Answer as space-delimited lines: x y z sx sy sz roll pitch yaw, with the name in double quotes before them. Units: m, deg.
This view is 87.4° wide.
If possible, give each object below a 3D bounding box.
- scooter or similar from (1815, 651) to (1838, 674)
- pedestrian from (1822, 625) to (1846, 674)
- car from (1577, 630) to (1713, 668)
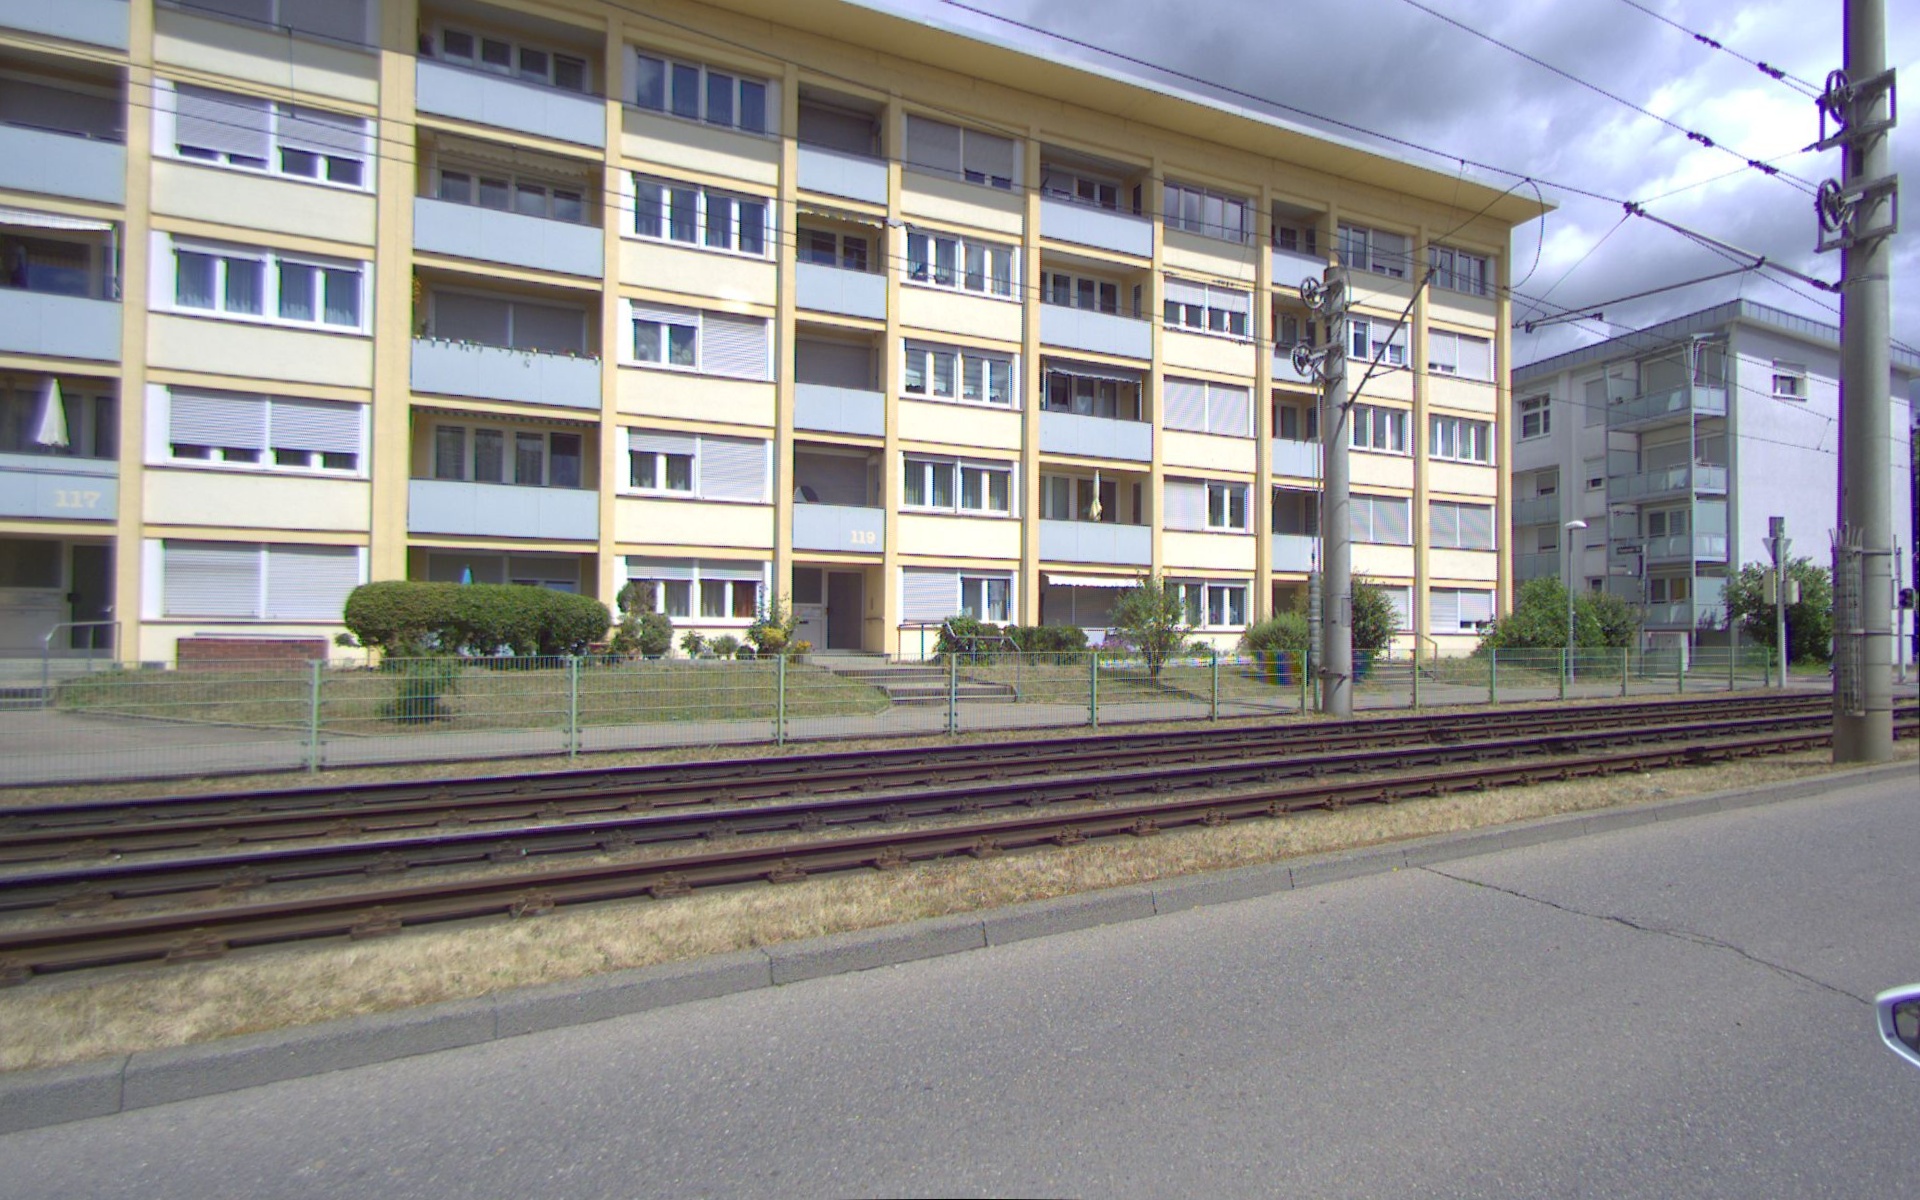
"scooter or similar" 28.547 2.055 33.095 0.468 0.757 0.436 1 -1 -25
"pedestrian" 28.989 1.633 33.320 0.468 1.601 0.436 0 -1 -25
"car" 26.349 1.839 38.792 1.873 1.363 3.980 1 -2 -21
